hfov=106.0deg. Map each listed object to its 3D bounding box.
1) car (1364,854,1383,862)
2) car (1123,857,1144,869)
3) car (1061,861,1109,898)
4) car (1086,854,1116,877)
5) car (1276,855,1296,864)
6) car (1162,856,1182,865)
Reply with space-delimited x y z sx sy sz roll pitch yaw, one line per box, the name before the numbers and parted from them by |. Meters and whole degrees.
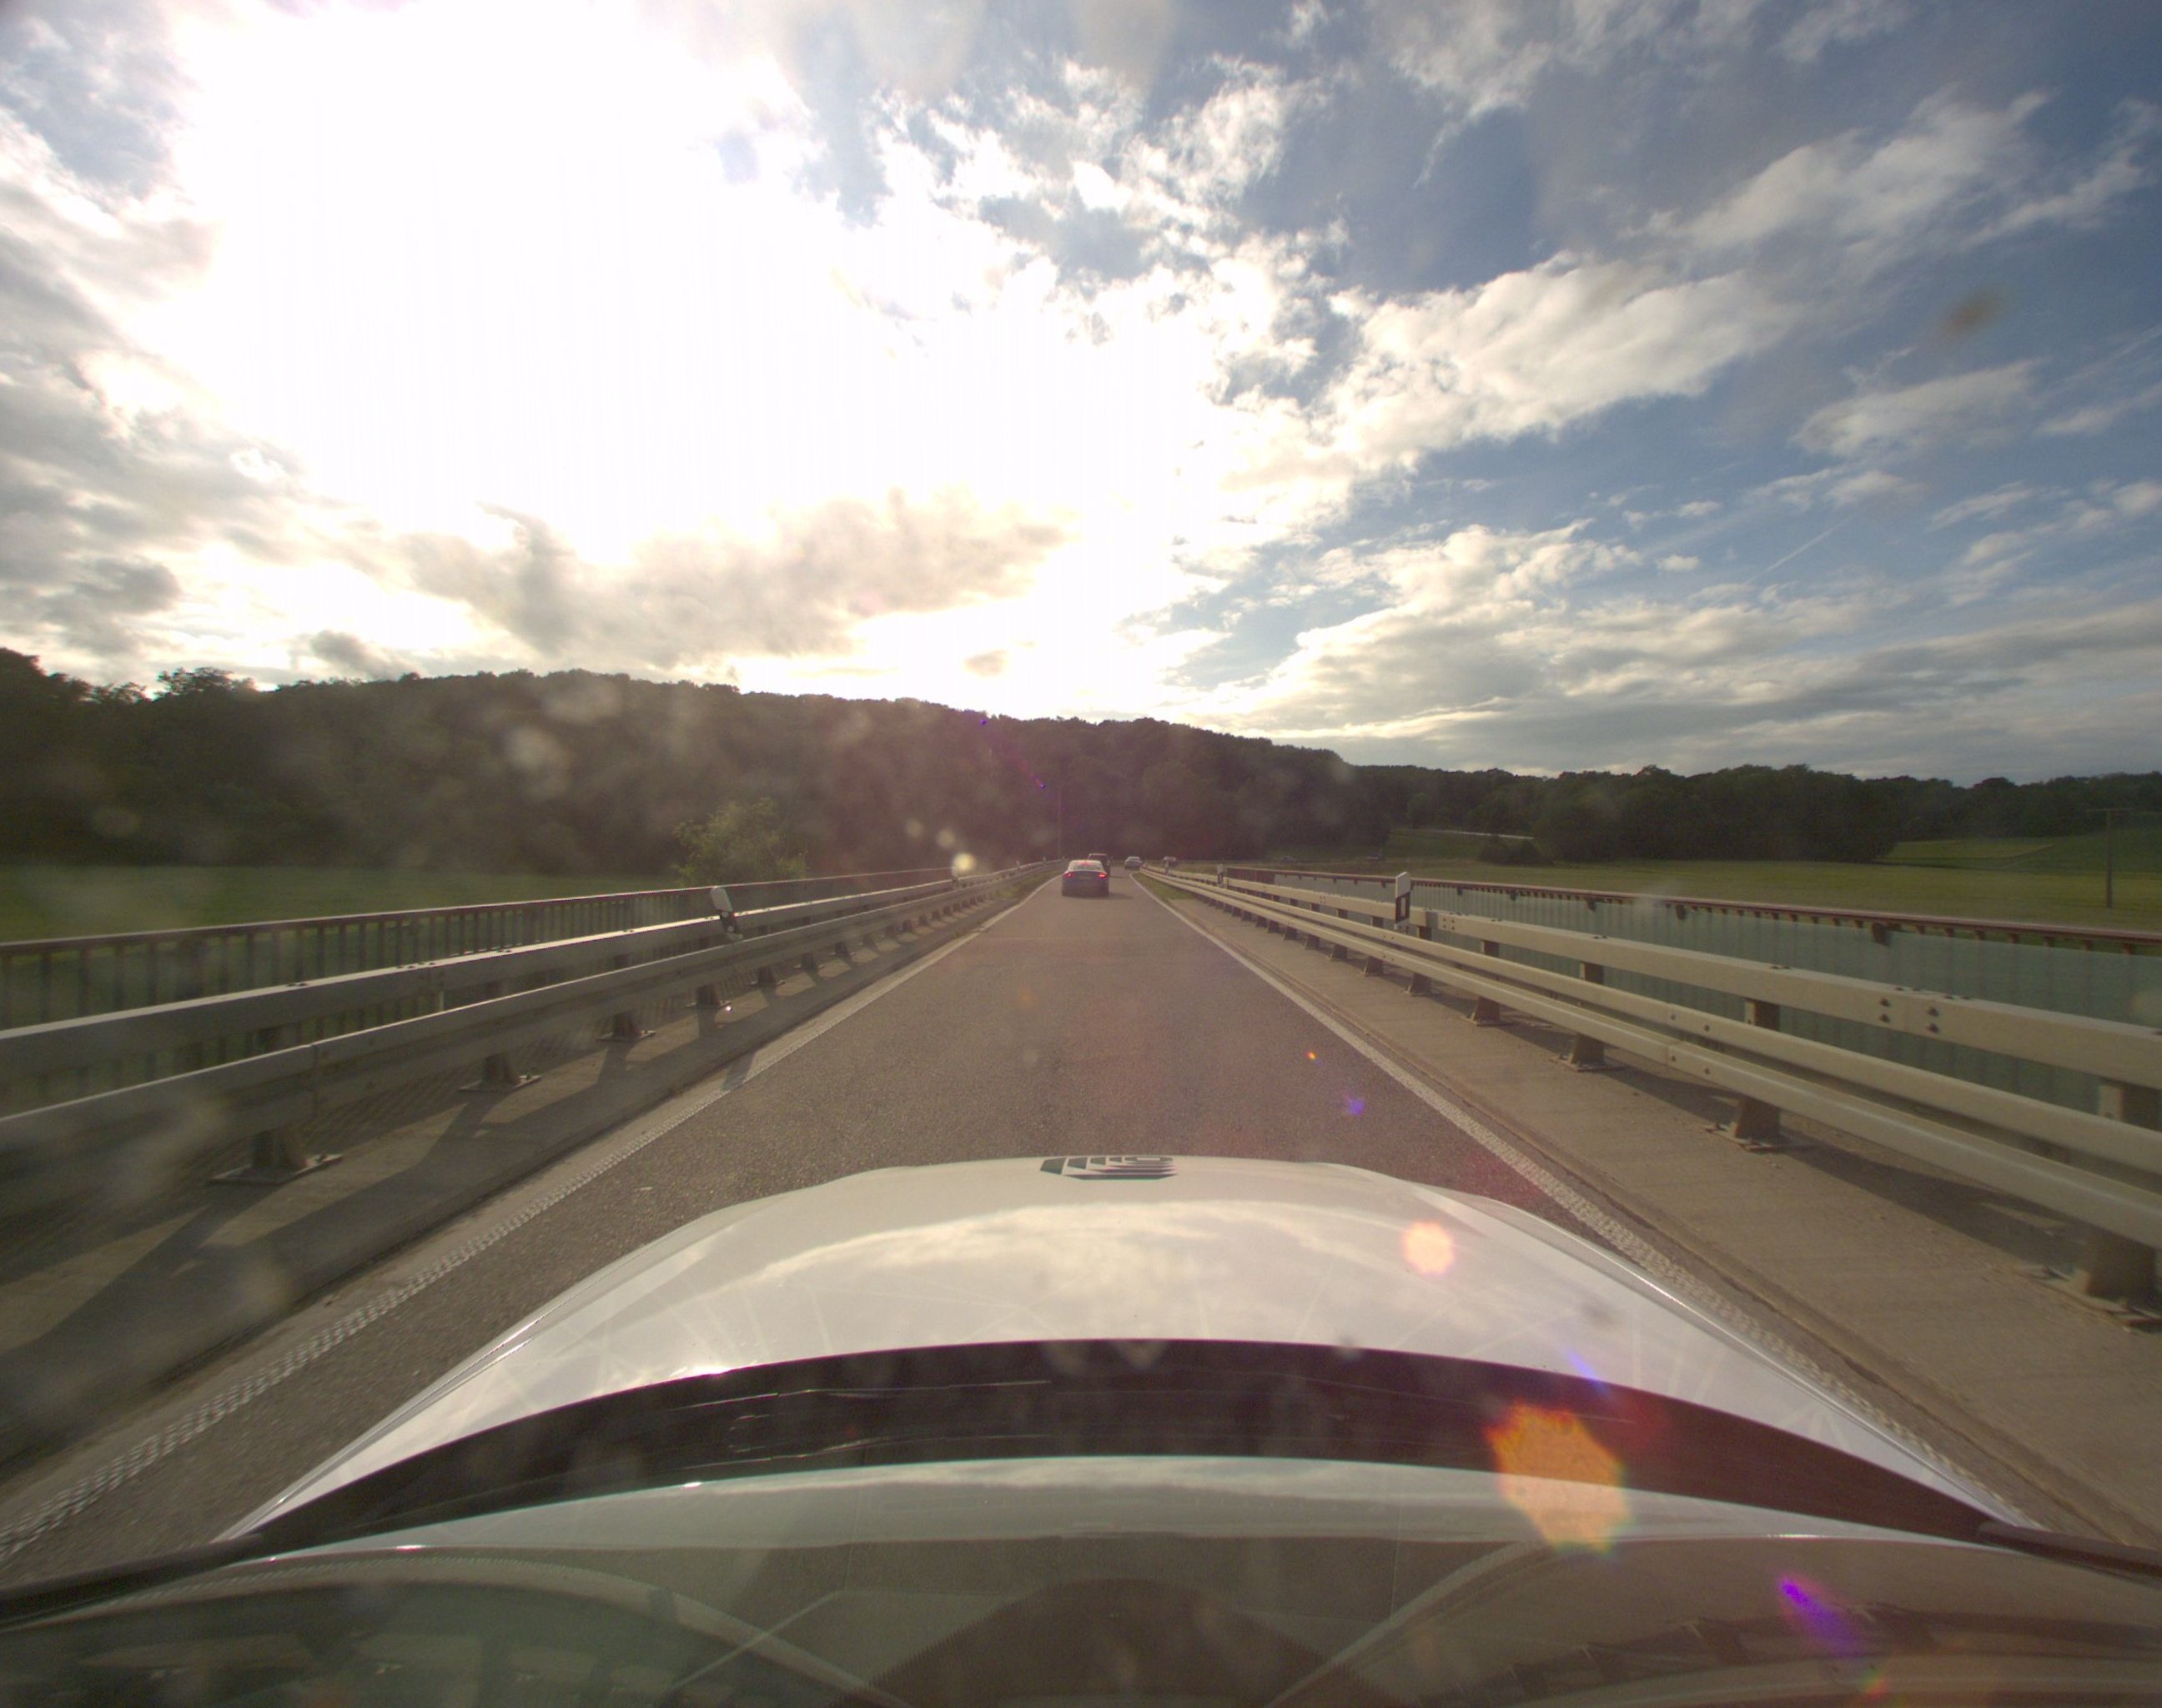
car | 65.702 0.878 183.138 4.015 1.772 1.979 3 -2 -34
car | 5.927 1.021 91.713 1.671 1.376 4.013 0 0 12
car | 0.136 0.963 32.544 1.813 1.339 4.349 0 0 0
car | 1.491 0.812 58.697 1.852 1.569 4.006 0 -1 6
car | 40.410 1.015 160.522 1.975 1.679 4.204 1 0 41
car | 12.760 0.961 113.951 1.457 1.227 3.320 0 0 30
